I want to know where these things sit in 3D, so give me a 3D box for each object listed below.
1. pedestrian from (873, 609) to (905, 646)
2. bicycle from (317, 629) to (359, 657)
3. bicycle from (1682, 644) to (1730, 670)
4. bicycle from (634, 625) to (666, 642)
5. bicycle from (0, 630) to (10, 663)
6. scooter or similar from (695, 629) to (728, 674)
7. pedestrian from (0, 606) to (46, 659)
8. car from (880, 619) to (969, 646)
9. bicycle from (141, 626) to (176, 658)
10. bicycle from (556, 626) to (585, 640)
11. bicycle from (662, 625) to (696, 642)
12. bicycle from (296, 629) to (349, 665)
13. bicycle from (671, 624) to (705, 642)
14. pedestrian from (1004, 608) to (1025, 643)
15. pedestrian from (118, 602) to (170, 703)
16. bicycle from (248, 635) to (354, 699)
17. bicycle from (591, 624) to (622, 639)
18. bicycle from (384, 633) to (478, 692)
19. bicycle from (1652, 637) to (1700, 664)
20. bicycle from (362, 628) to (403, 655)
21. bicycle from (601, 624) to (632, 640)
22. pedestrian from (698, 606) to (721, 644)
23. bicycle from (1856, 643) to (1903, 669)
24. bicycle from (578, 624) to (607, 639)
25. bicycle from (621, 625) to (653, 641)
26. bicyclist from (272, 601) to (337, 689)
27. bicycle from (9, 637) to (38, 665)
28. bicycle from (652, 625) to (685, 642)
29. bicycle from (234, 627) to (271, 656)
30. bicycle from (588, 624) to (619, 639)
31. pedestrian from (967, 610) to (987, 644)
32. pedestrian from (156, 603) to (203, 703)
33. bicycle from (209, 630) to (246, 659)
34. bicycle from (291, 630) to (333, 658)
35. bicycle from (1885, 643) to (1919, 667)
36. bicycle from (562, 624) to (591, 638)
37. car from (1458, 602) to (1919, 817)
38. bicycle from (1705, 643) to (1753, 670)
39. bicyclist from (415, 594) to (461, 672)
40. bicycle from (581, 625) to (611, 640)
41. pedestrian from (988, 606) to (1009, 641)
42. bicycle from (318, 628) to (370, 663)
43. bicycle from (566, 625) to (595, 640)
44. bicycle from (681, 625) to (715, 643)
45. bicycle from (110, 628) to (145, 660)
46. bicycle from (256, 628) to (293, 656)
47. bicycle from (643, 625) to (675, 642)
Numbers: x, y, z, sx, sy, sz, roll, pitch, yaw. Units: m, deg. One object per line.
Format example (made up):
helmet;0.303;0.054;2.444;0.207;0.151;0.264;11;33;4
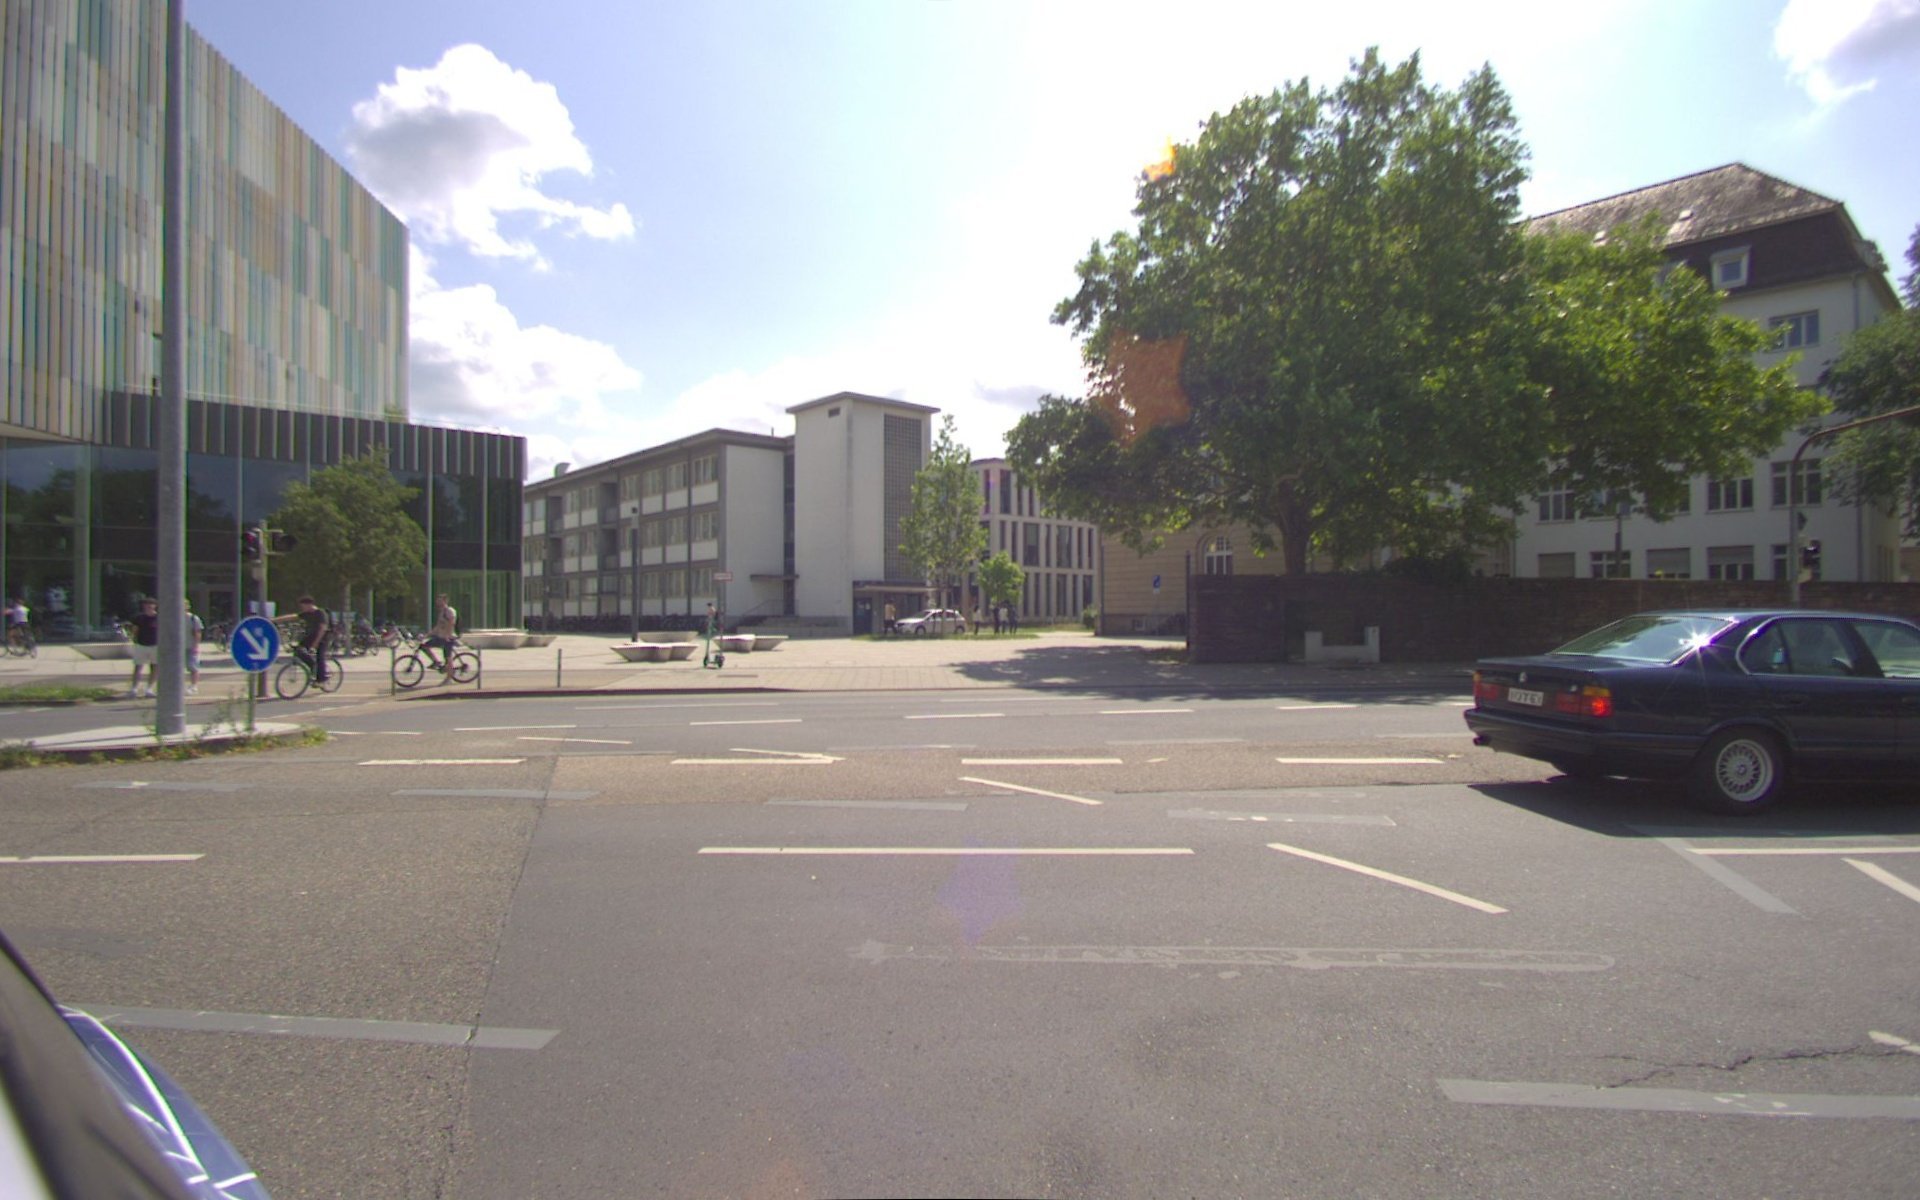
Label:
pedestrian;-3.211;1.253;45.991;1.283;1.663;1.324;0;-1;5
bicycle;-22.360;1.526;36.391;1.767;0.962;0.523;0;-1;31
bicycle;21.015;1.601;28.513;0.402;0.687;1.010;0;0;-33
bicycle;-18.478;1.982;60.371;1.744;0.962;0.530;1;0;-36
bicycle;-29.074;1.408;30.258;0.520;0.962;1.779;1;-1;-27
scooter or similar;-6.127;1.245;24.930;0.396;1.075;1.154;1;-2;-35
pedestrian;-29.859;1.018;31.940;0.999;1.663;1.184;0;-1;-7
car;-1.842;1.694;53.590;4.423;1.316;2.004;0;0;-40
bicycle;-26.161;1.368;33.028;1.772;0.962;0.522;0;2;40
bicycle;-26.587;2.238;69.153;1.744;0.962;0.530;1;0;-36
bicycle;-15.995;1.888;57.634;1.744;0.962;0.530;1;0;-36
bicycle;-18.139;1.323;28.795;1.767;0.962;0.523;0;-1;31
bicycle;-15.265;1.850;56.889;1.744;0.962;0.530;1;0;-36
pedestrian;2.811;1.310;51.799;0.859;1.803;0.838;-1;-1;20
pedestrian;-15.150;0.961;18.803;0.622;1.856;0.481;0;-1;-22
bicycle;-12.494;1.255;19.209;1.643;1.133;0.697;1;-1;-36
bicycle;-22.270;1.986;63.835;1.744;0.962;0.530;1;0;-36
bicycle;-10.775;1.255;20.643;1.643;1.133;0.697;0;-1;-32
bicycle;19.923;1.399;28.162;0.402;0.687;1.010;0;0;-33
bicycle;-21.247;1.514;37.217;1.767;0.962;0.523;0;-1;31
bicycle;-21.357;1.981;62.889;1.744;0.962;0.530;1;0;-36
pedestrian;-11.783;1.171;47.623;0.830;1.803;0.679;1;-2;-37
bicycle;26.922;1.631;29.639;1.008;0.687;0.403;1;0;44
bicycle;-24.087;2.037;66.335;1.744;0.962;0.530;1;0;-36
bicycle;-19.491;1.997;61.077;1.744;0.962;0.530;1;0;-36
bicyclist;-12.464;0.834;19.246;0.983;1.628;0.659;1;-1;-36
bicycle;-28.406;1.543;30.701;0.520;0.770;1.776;1;-1;-39
bicycle;-16.842;1.925;58.575;1.744;0.962;0.530;1;0;-36
bicycle;-24.507;1.425;35.051;1.770;0.962;0.522;0;-1;37
bicycle;-22.744;2.003;64.598;1.744;0.962;0.530;1;0;-36
pedestrian;0.882;1.410;52.888;0.808;1.803;0.837;-1;-2;22
pedestrian;-14.730;0.987;19.112;0.566;1.856;0.417;0;-1;-12
bicycle;-24.978;1.503;34.502;1.770;0.962;0.522;0;-1;37
bicycle;-23.051;1.550;35.970;1.767;0.962;0.523;0;-1;31
bicycle;28.256;1.636;30.173;1.008;0.687;0.403;1;0;44
bicycle;-25.879;2.093;68.278;1.744;0.962;0.530;1;0;-36
car;6.411;0.717;7.562;4.545;1.397;1.699;0;-1;-4
bicycle;21.847;1.604;28.777;0.402;0.687;1.010;0;0;-33
bicyclist;-10.690;0.672;20.716;0.772;1.550;0.659;0;-1;-32
bicycle;-23.692;2.089;65.808;1.744;0.962;0.530;1;0;-36
pedestrian;1.966;1.212;52.160;0.885;1.803;0.838;-1;-1;19
bicycle;-17.841;1.306;29.304;1.767;0.962;0.523;0;-1;31
bicycle;-25.352;2.187;67.669;1.744;0.962;0.530;1;0;-36
bicycle;-14.469;1.861;55.848;1.743;0.962;0.530;1;0;-33
bicycle;-26.601;1.386;32.335;1.772;0.962;0.522;1;0;40
bicycle;-24.143;1.467;35.640;1.770;0.962;0.522;0;-1;37
bicycle;-17.716;1.954;59.572;1.744;0.962;0.530;1;0;-36
